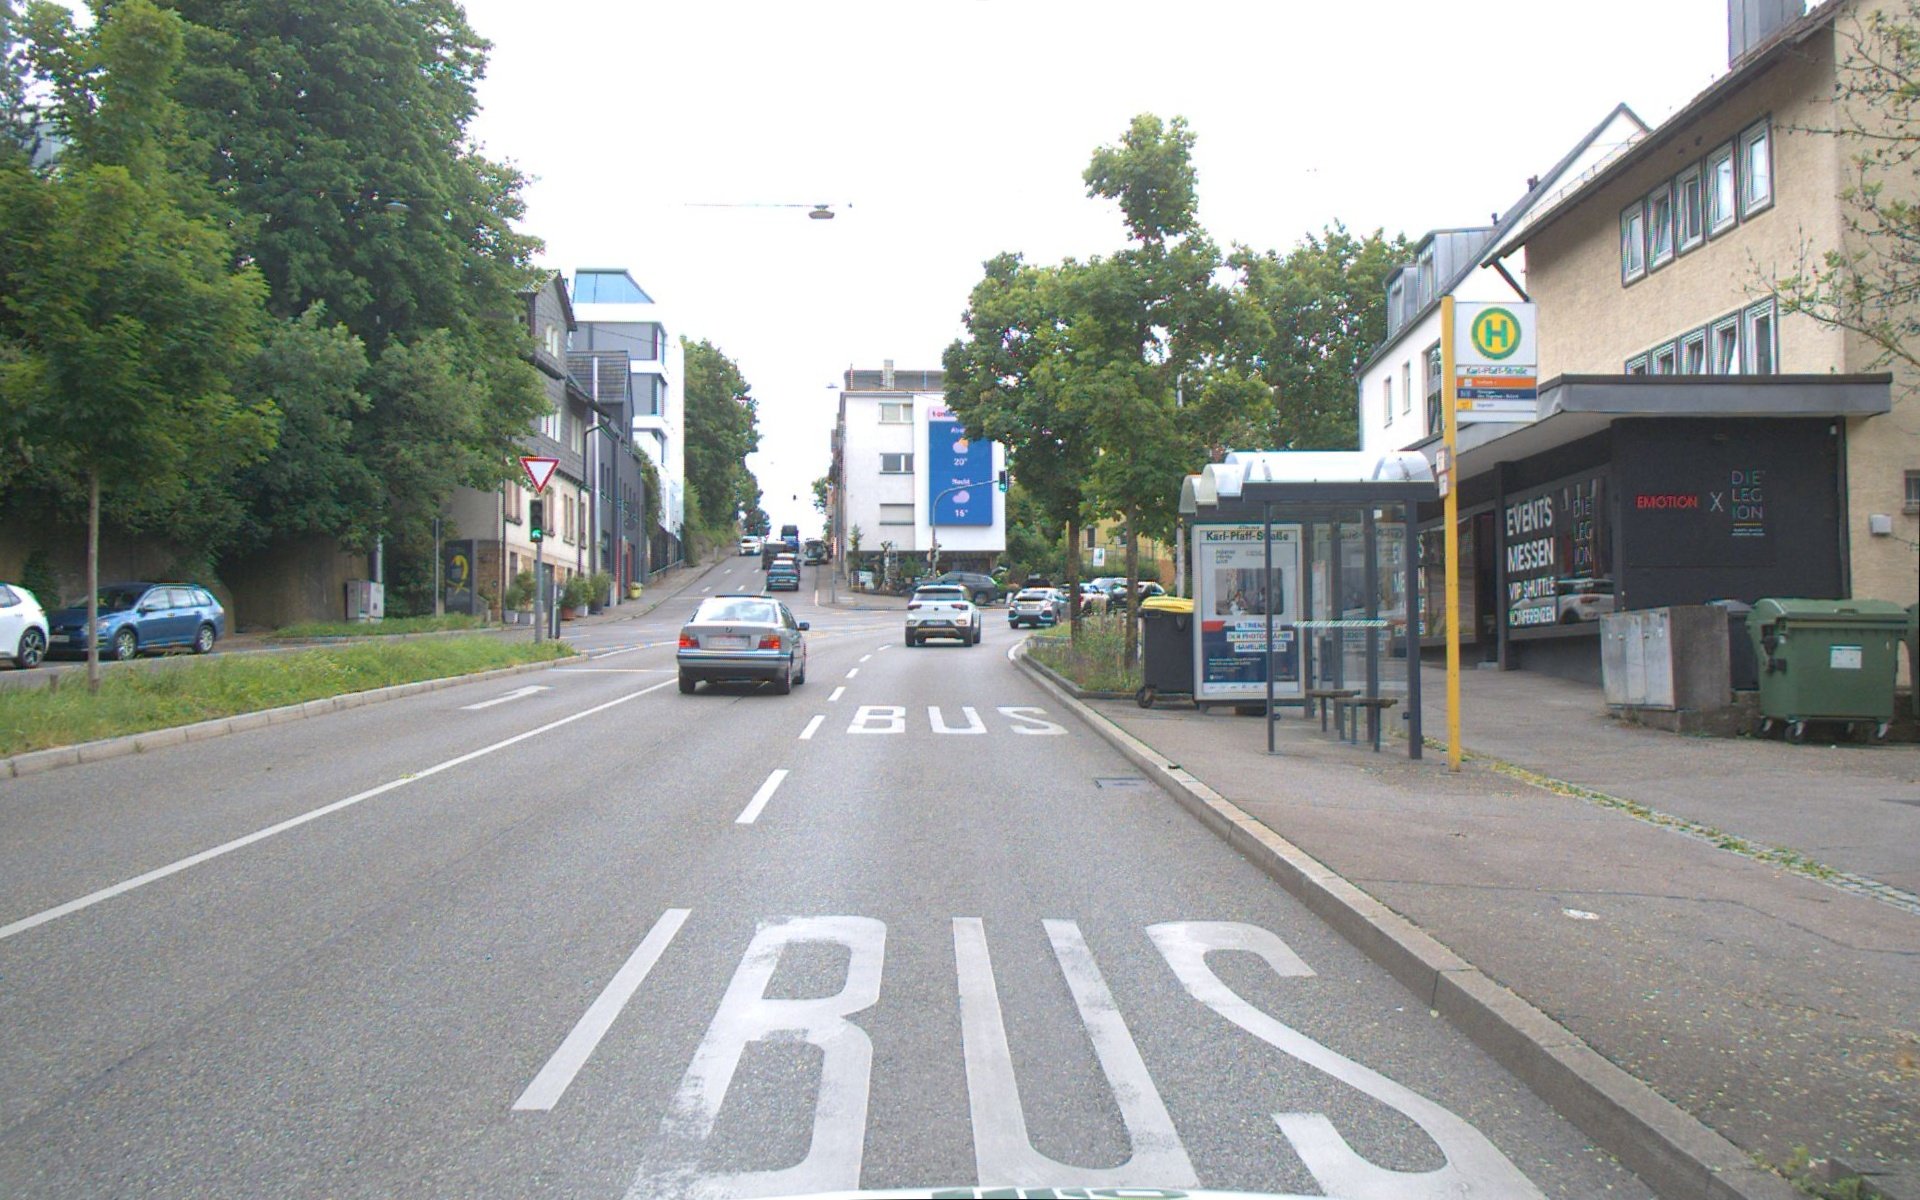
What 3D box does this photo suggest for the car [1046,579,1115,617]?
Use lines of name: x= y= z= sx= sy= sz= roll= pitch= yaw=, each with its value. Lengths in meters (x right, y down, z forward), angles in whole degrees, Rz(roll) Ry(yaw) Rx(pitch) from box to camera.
car: x=5.351 y=-0.093 z=73.053 sx=1.745 sy=1.606 sz=3.997 roll=1 pitch=1 yaw=25

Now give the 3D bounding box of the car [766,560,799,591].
car: x=-9.774 y=-1.364 z=91.250 sx=1.745 sy=1.606 sz=3.996 roll=1 pitch=1 yaw=-5

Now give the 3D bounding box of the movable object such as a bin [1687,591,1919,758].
movable object such as a bin: x=9.278 y=0.666 z=17.045 sx=1.850 sy=1.477 sz=4.001 roll=0 pitch=1 yaw=1

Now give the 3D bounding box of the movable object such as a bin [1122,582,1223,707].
movable object such as a bin: x=2.642 y=0.530 z=20.762 sx=1.063 sy=1.507 sz=1.537 roll=0 pitch=1 yaw=0

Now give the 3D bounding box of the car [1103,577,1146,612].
car: x=7.166 y=-0.275 z=72.044 sx=1.756 sy=1.434 sz=4.003 roll=1 pitch=1 yaw=6

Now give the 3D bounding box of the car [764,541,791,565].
car: x=-12.743 y=-3.275 z=115.535 sx=1.745 sy=1.606 sz=3.996 roll=-1 pitch=1 yaw=-5

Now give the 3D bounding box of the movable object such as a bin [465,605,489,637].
movable object such as a bin: x=-16.150 y=0.702 z=55.312 sx=0.526 sy=1.037 sz=0.647 roll=0 pitch=-2 yaw=12

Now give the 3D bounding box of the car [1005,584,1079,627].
car: x=3.040 y=0.175 z=60.486 sx=1.742 sy=1.434 sz=4.003 roll=1 pitch=1 yaw=17

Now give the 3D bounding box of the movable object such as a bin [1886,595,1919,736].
movable object such as a bin: x=10.495 y=0.680 z=17.005 sx=1.313 sy=1.434 sz=1.128 roll=0 pitch=1 yaw=1

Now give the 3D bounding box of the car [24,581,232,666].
car: x=-16.771 y=0.421 z=33.586 sx=1.676 sy=1.555 sz=4.305 roll=1 pitch=1 yaw=7

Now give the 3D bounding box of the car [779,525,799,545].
car: x=-18.380 y=-7.021 z=177.846 sx=1.955 sy=2.048 sz=3.996 roll=1 pitch=1 yaw=-5

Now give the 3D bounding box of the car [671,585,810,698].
car: x=-3.221 y=0.559 z=24.931 sx=1.672 sy=1.489 sz=3.999 roll=1 pitch=1 yaw=-2

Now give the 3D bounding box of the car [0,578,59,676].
car: x=-17.418 y=0.472 z=28.109 sx=1.742 sy=1.657 sz=4.173 roll=1 pitch=1 yaw=3

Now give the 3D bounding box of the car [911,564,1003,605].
car: x=-0.187 y=-0.834 z=88.232 sx=4.597 sy=1.741 sz=2.317 roll=4 pitch=4 yaw=-5

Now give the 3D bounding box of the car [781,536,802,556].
car: x=-14.797 y=-4.749 z=145.450 sx=1.745 sy=1.606 sz=3.996 roll=0 pitch=0 yaw=-5

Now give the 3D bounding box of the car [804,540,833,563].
car: x=-10.499 y=-3.613 z=122.613 sx=2.048 sy=1.641 sz=3.997 roll=0 pitch=1 yaw=-4

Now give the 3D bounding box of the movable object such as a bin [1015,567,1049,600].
movable object such as a bin: x=4.037 y=-0.932 z=92.746 sx=1.725 sy=1.810 sz=1.856 roll=0 pitch=1 yaw=8

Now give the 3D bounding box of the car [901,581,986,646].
car: x=-0.378 y=0.321 z=43.884 sx=1.742 sy=1.606 sz=4.003 roll=0 pitch=1 yaw=7

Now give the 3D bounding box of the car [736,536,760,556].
car: x=-17.918 y=-4.579 z=140.142 sx=1.846 sy=1.594 sz=4.386 roll=-1 pitch=4 yaw=-5
